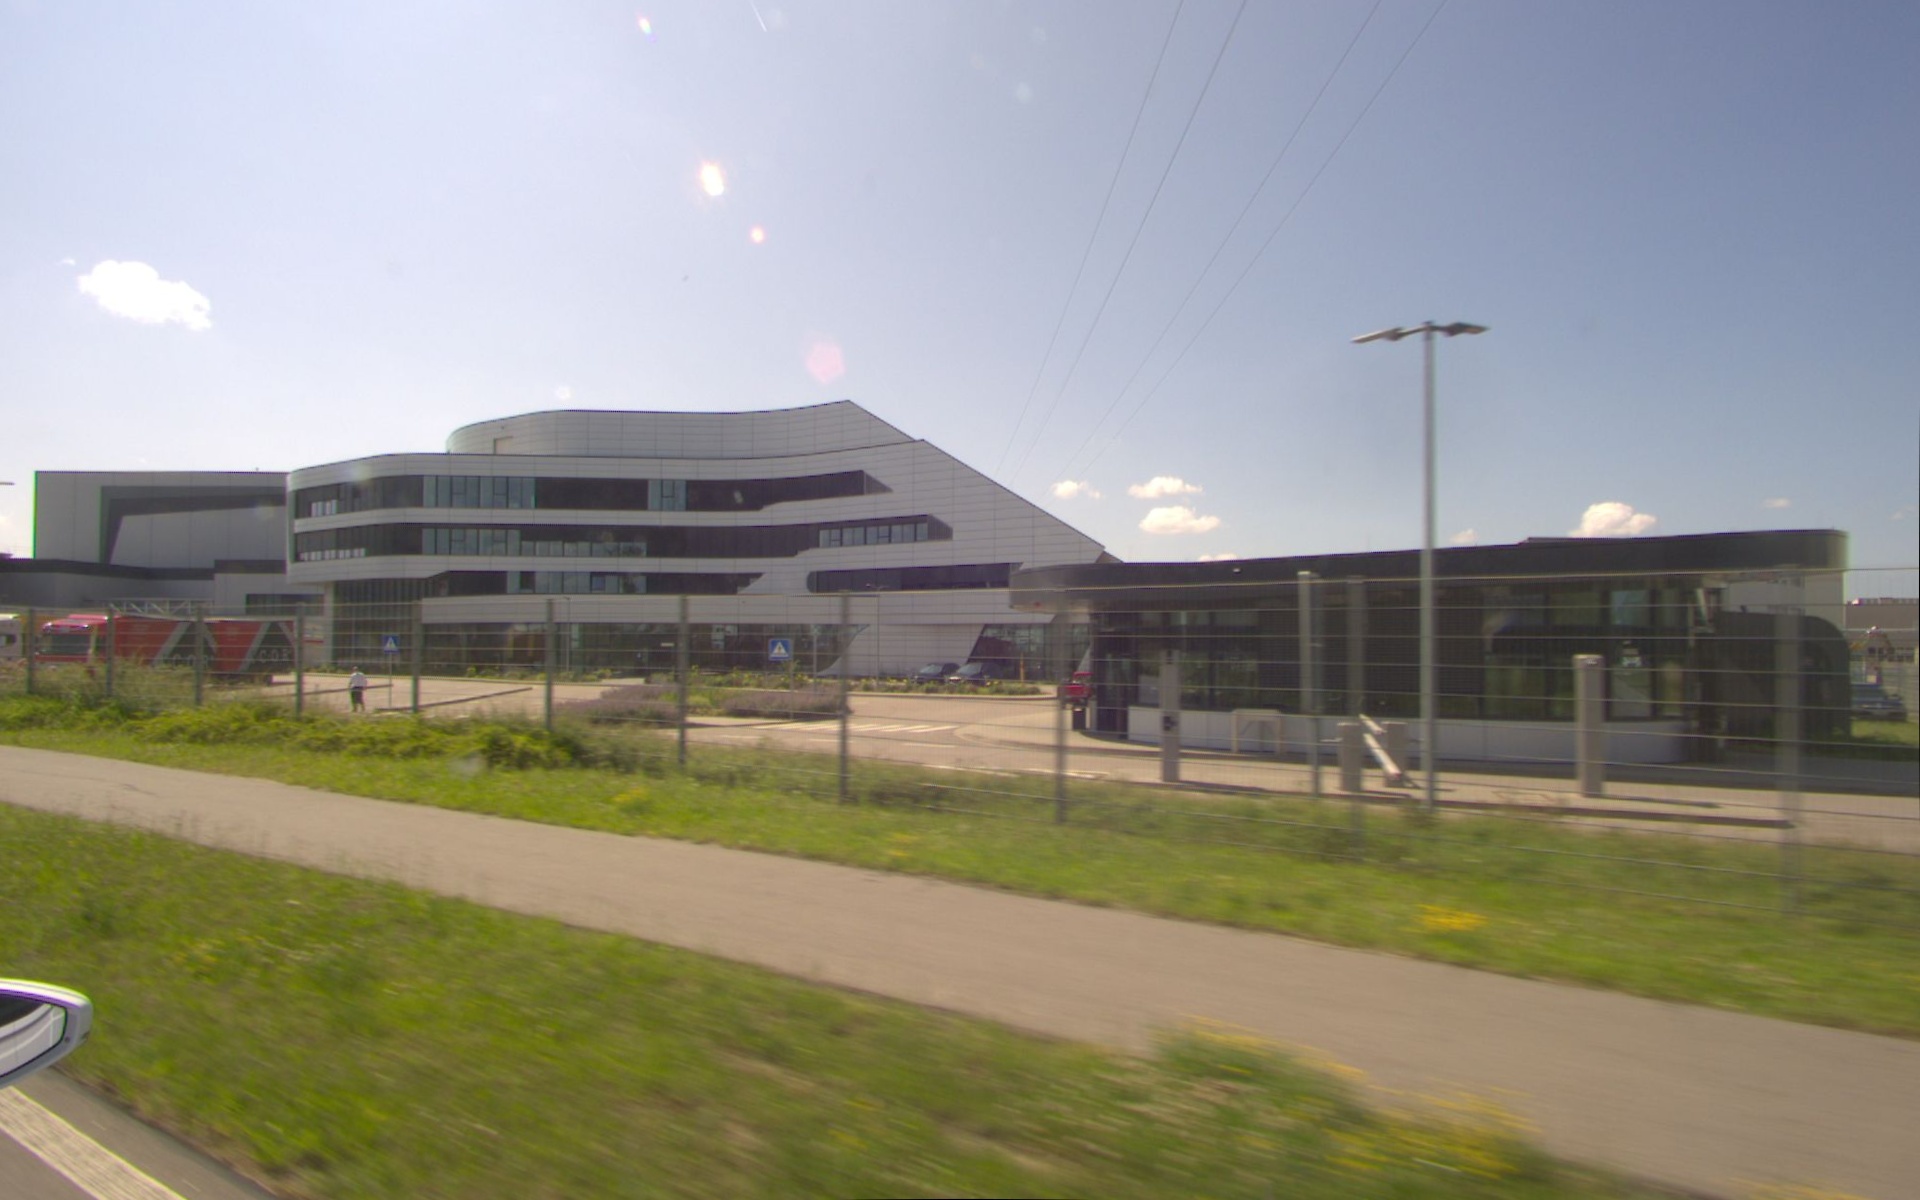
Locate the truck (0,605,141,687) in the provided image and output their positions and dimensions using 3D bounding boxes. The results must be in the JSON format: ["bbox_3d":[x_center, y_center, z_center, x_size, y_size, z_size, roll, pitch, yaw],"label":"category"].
[{"bbox_3d":[-52.004,2.560,57.138,2.769,4.226,10.973,0,-2,-8],"label":"truck"}]

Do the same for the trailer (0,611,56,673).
[{"bbox_3d":[-70.134,2.985,70.212,2.714,4.494,14.061,0,-2,-9],"label":"trailer"}]

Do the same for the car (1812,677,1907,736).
[{"bbox_3d":[34.246,4.005,38.253,1.972,2.038,4.731,-1,-4,33],"label":"car"}]

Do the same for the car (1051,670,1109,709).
[{"bbox_3d":[5.237,3.869,43.598,1.433,1.553,3.141,-1,-3,29],"label":"car"}]

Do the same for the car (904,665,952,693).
[{"bbox_3d":[-1.863,4.647,59.103,1.449,1.553,3.046,-1,-3,30],"label":"car"}]

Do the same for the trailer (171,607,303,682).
[{"bbox_3d":[-45.228,2.747,63.028,2.971,4.351,8.715,0,-1,-8],"label":"trailer"}]

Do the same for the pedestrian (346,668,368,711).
[{"bbox_3d":[-23.609,3.505,39.215,0.565,1.673,0.483,0,-2,28],"label":"pedestrian"}]

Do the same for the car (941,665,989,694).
[{"bbox_3d":[0.327,4.596,58.014,1.449,1.553,3.046,-1,-3,30],"label":"car"}]

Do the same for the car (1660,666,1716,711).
[{"bbox_3d":[35.896,4.333,49.486,1.972,2.038,4.731,-1,-4,33],"label":"car"}]

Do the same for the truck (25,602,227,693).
[{"bbox_3d":[-43.844,2.429,53.320,2.971,4.310,10.972,0,-2,-8],"label":"truck"}]
